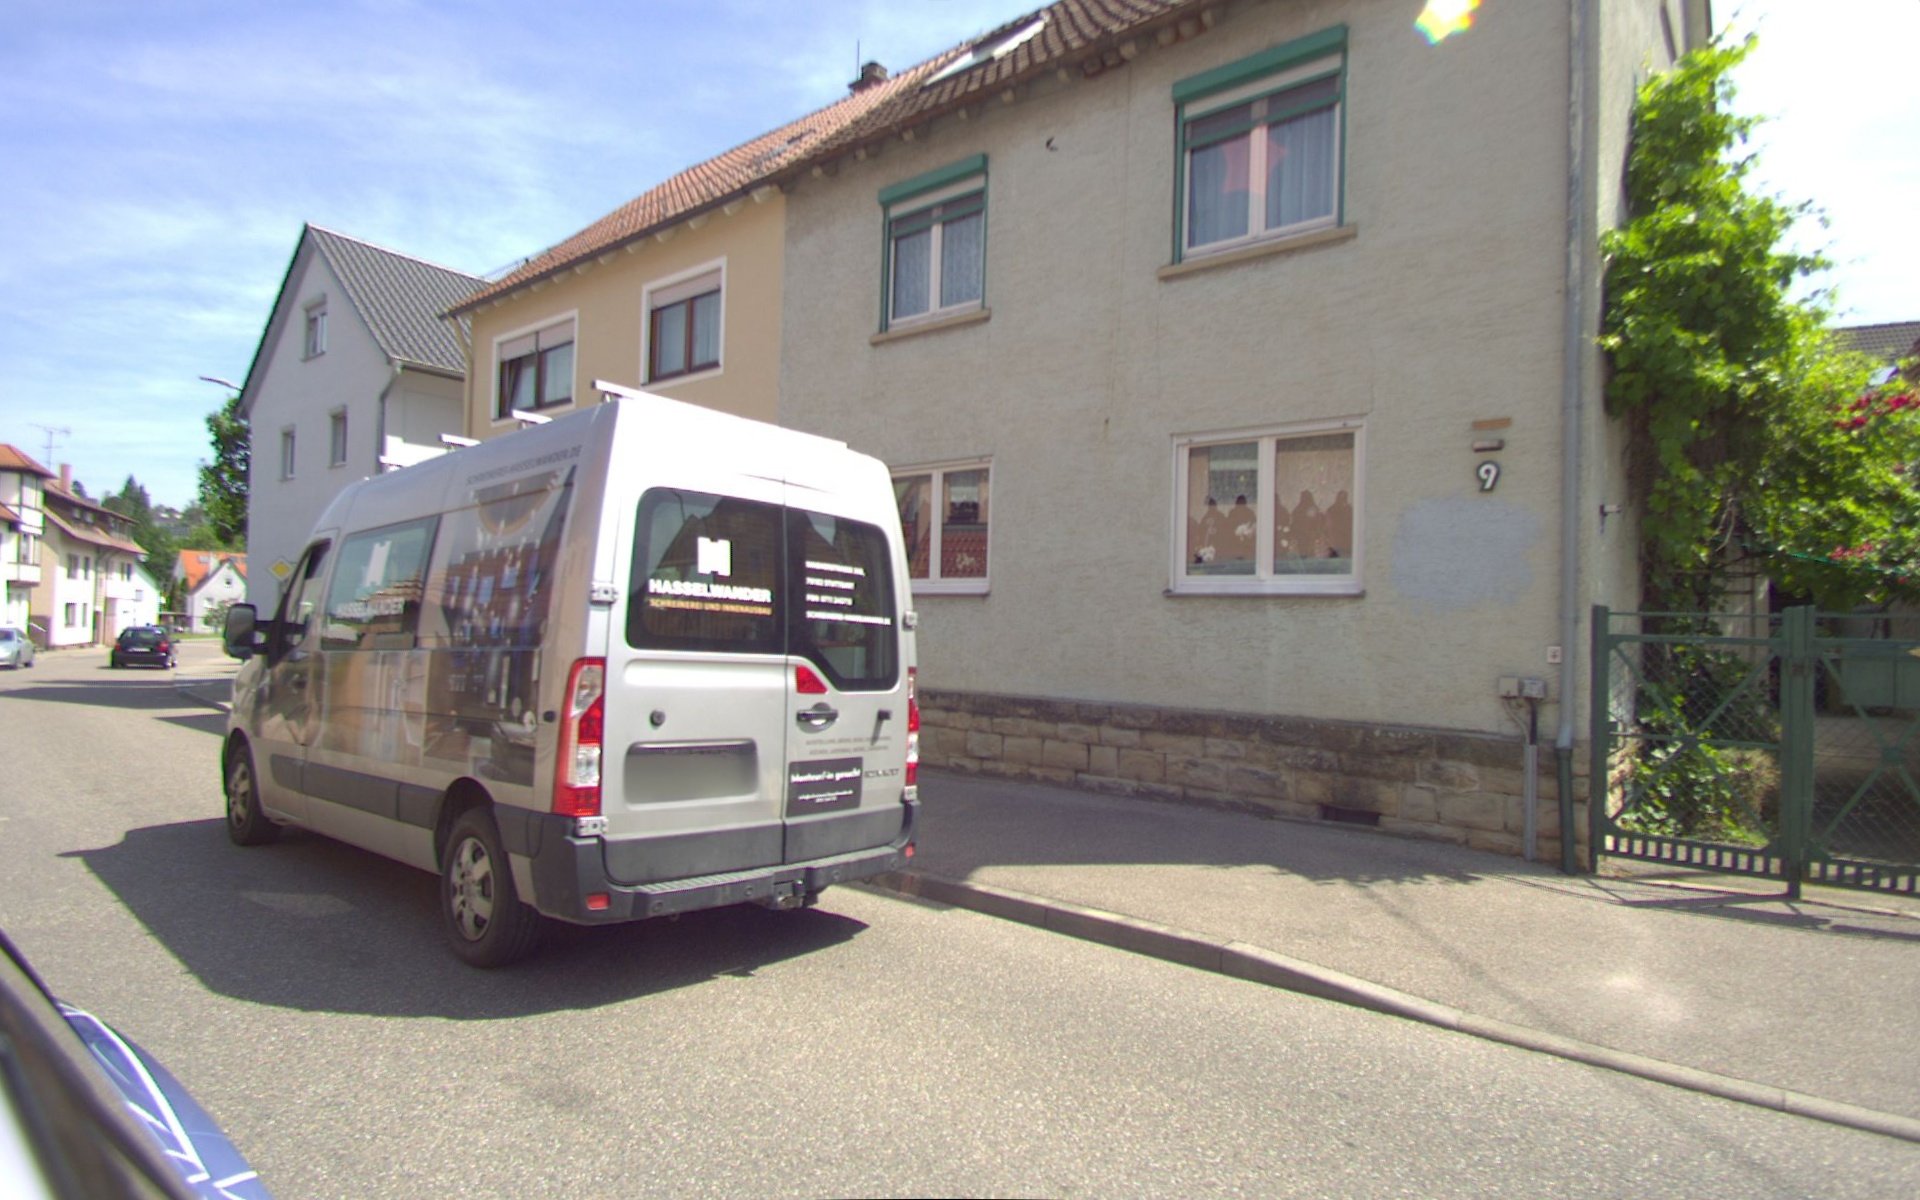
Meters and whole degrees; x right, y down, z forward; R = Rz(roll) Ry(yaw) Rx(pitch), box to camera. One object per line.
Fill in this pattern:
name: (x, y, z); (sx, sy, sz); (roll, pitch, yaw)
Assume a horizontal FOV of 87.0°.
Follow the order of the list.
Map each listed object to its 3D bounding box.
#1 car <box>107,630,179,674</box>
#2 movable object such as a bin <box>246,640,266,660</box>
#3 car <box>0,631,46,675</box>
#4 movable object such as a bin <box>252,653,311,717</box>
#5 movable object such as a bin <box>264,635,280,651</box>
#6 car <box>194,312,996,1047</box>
car: (-30.991, 1.960, 38.475); (1.775, 1.567, 4.080); (3, -4, -35)
movable object such as a bin: (-38.437, 2.707, 55.281); (0.814, 1.085, 0.820); (1, -2, -30)
car: (-33.481, 1.807, 35.090); (1.761, 1.453, 4.350); (1, -2, -30)
movable object such as a bin: (-11.863, 1.466, 17.695); (0.745, 1.068, 0.680); (2, -3, -43)
movable object such as a bin: (-43.986, 2.754, 64.702); (0.780, 1.065, 0.652); (2, -3, -34)
car: (-2.692, 0.357, 6.286); (5.824, 2.582, 2.092); (-1, -3, 41)
